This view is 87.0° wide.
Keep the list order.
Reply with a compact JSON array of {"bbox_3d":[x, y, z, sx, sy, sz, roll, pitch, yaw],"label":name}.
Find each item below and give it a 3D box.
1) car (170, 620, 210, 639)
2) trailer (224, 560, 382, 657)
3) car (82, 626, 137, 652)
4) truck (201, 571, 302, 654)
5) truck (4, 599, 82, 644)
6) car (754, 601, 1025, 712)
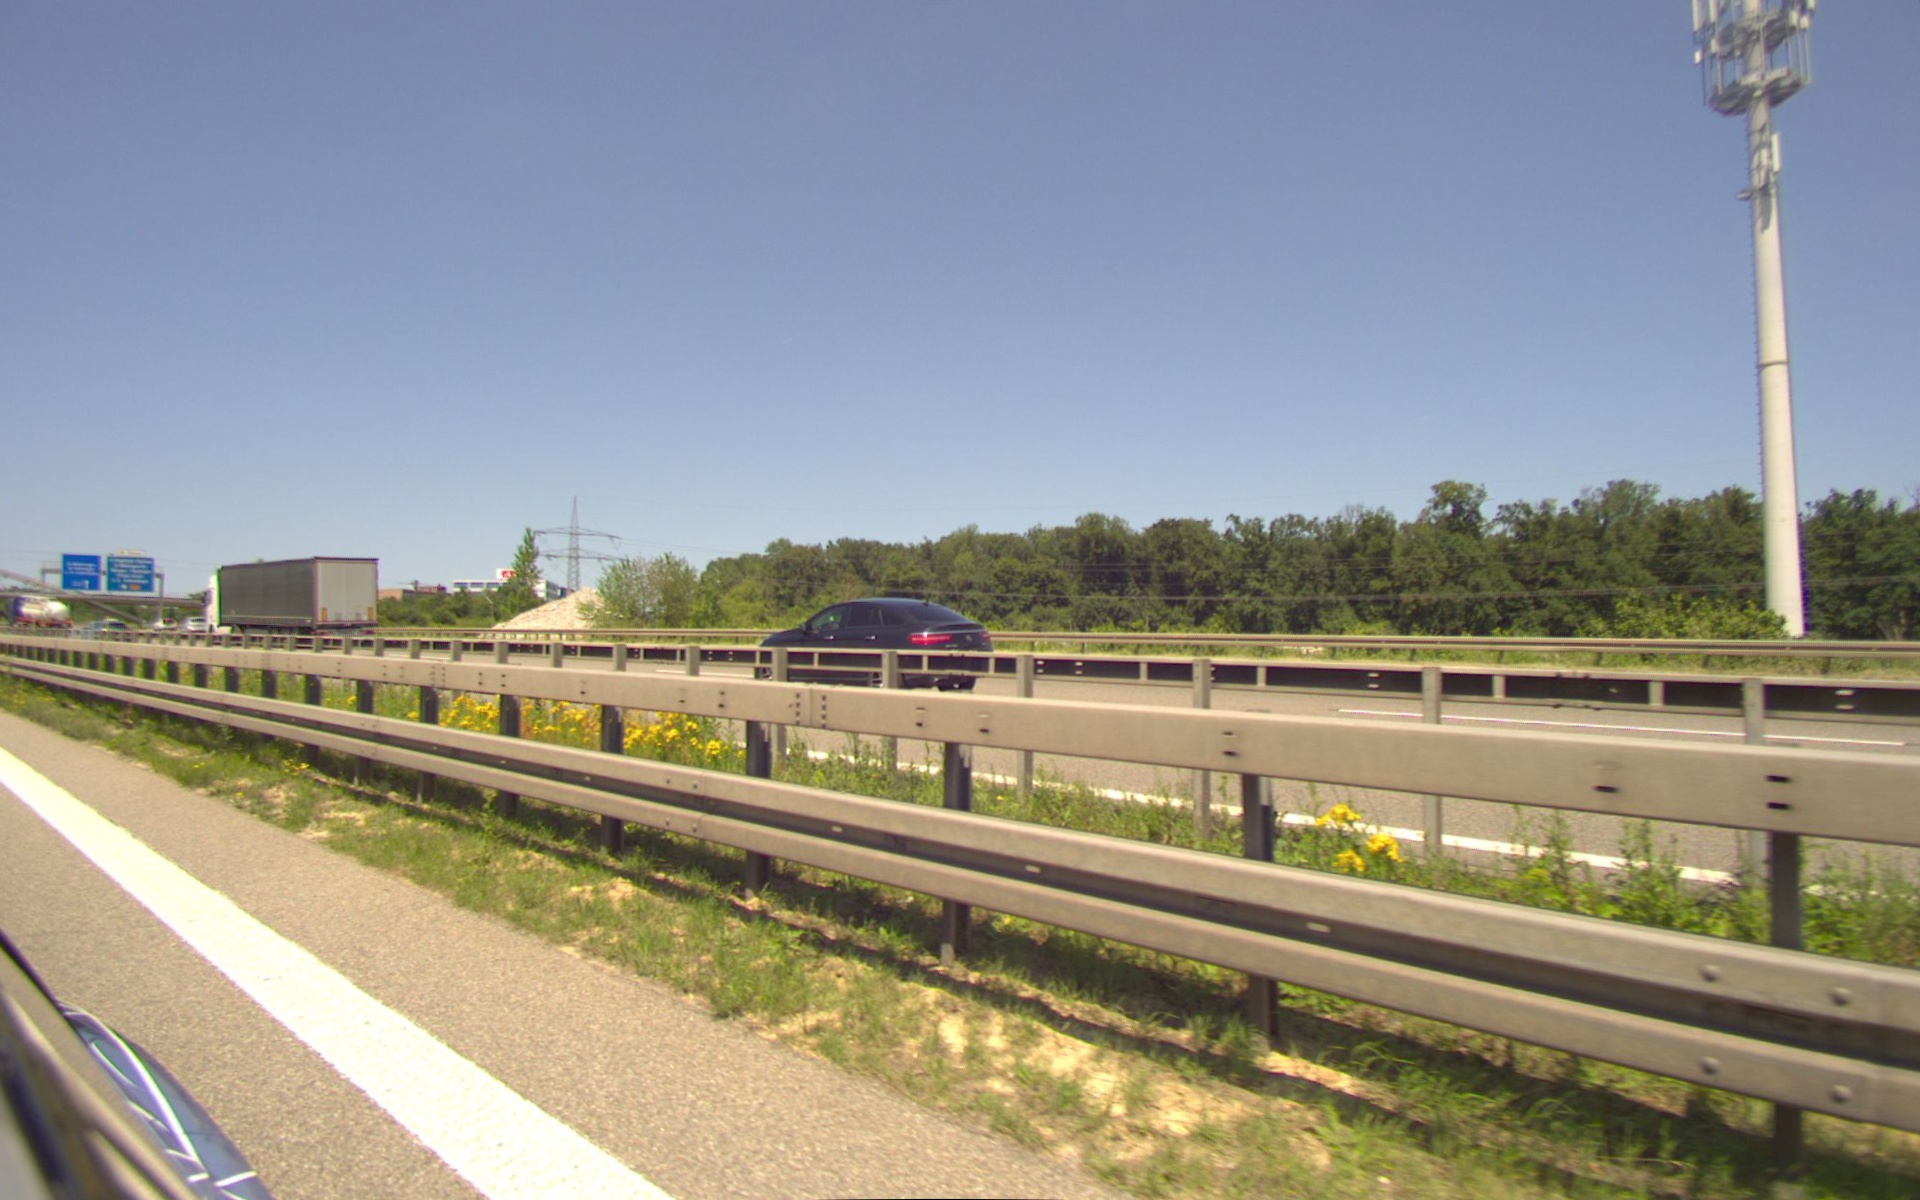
[{"bbox_3d":[-64.690,2.471,84.987,4.435,1.457,1.734,-2,-1,39],"label":"car"},{"bbox_3d":[-31.634,0.459,48.375,12.577,4.144,2.861,-2,-1,41],"label":"trailer"},{"bbox_3d":[-48.808,2.205,58.055,4.494,1.371,1.689,-2,-1,41],"label":"car"},{"bbox_3d":[-37.341,0.666,53.267,6.380,4.148,2.851,-2,-1,41],"label":"truck"},{"bbox_3d":[-82.072,1.915,90.455,12.885,3.814,3.187,-1,-1,39],"label":"truck"},{"bbox_3d":[-1.328,0.895,17.536,4.661,1.657,1.973,-1,-1,41],"label":"car"}]
